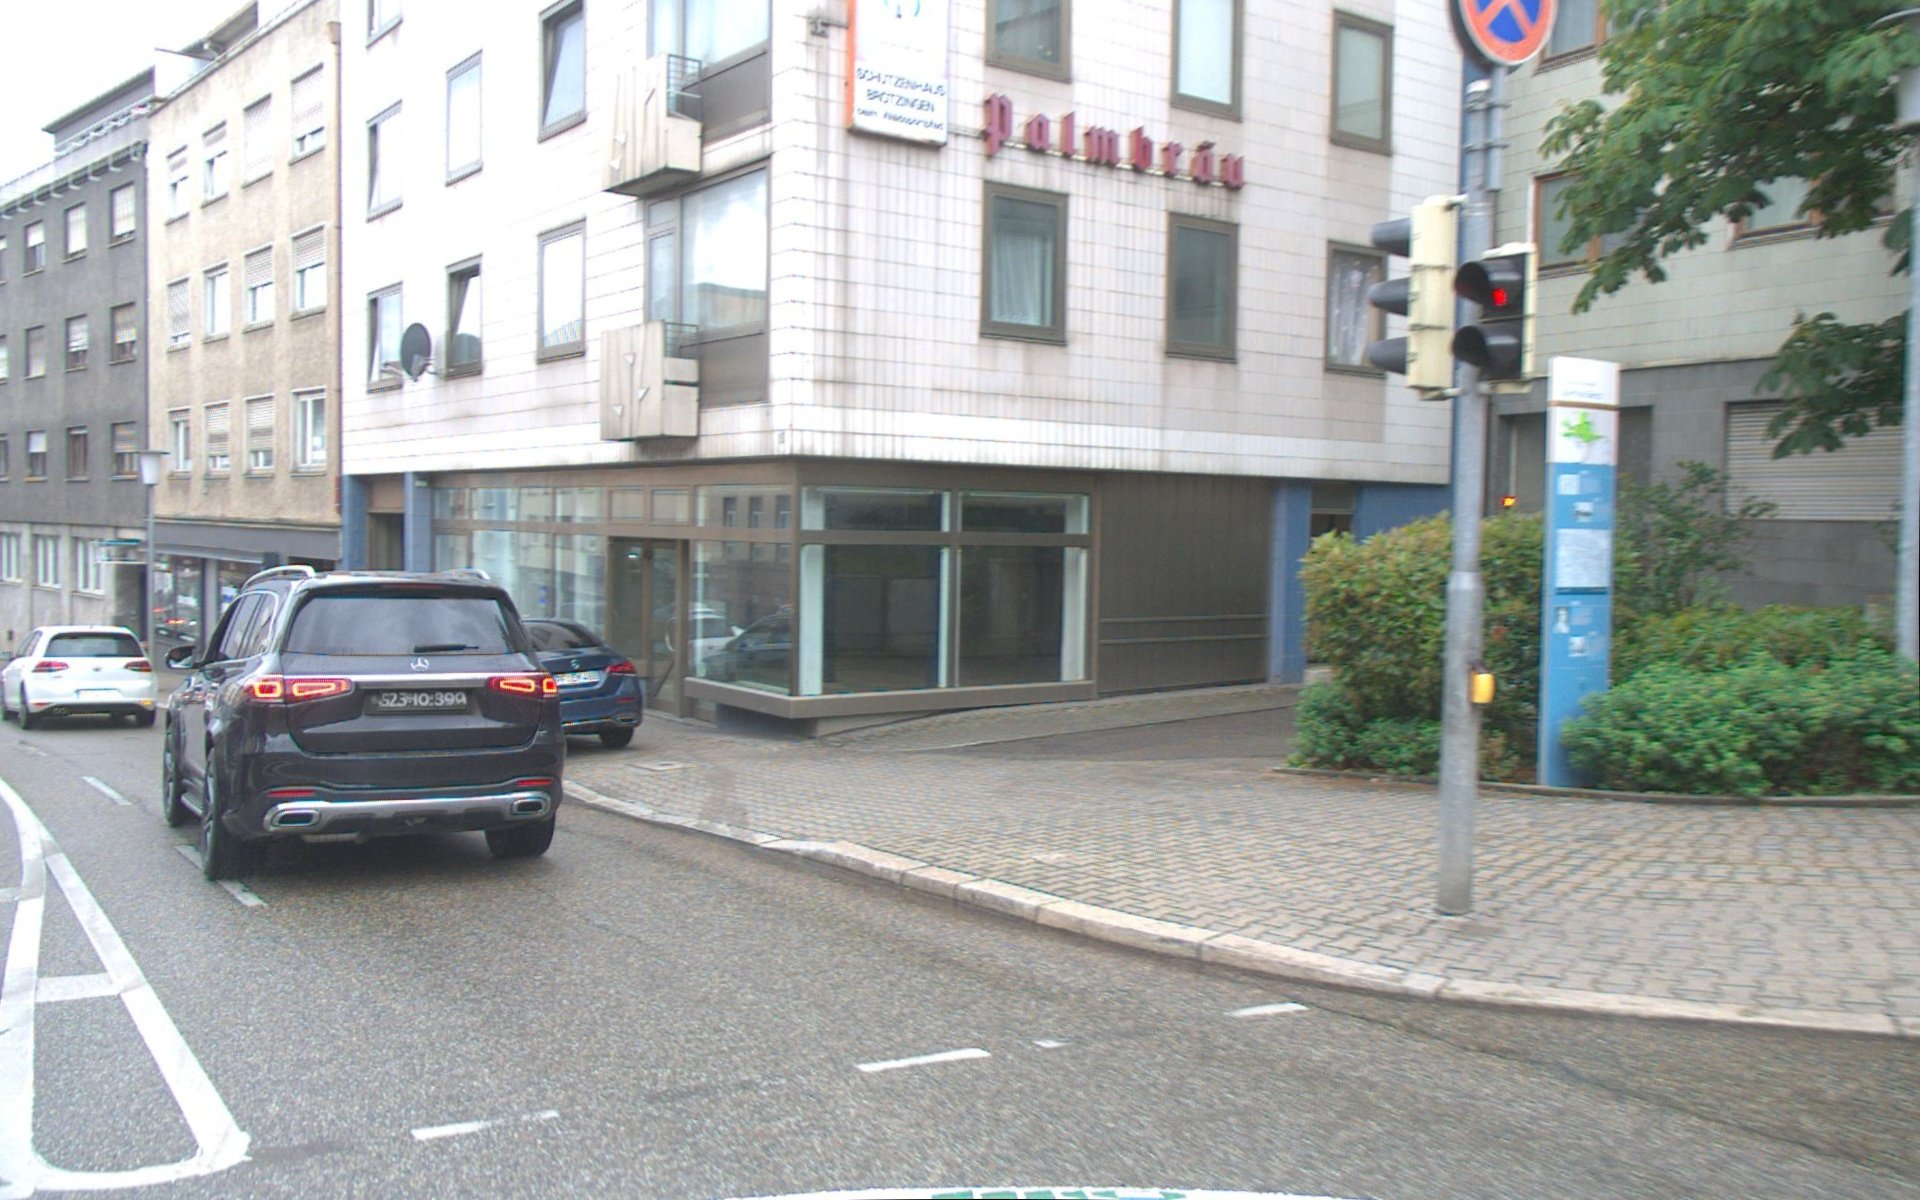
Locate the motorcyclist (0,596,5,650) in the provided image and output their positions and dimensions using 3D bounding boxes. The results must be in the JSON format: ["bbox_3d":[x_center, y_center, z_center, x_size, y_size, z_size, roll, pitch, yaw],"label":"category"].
[{"bbox_3d":[-20.831,0.391,34.597,0.864,1.075,2.893,0,4,-43],"label":"motorcyclist"}]

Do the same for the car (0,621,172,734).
[{"bbox_3d":[-13.429,1.120,25.139,1.816,1.487,4.322,-2,0,-36],"label":"car"}]

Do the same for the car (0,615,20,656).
[{"bbox_3d":[-36.499,1.307,61.427,1.788,1.503,4.413,1,-1,-43],"label":"car"}]

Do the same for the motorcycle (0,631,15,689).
[{"bbox_3d":[-20.520,1.170,34.391,0.864,1.075,2.893,0,4,-43],"label":"motorcycle"}]

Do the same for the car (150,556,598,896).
[{"bbox_3d":[-4.161,0.711,11.164,2.000,1.770,4.697,0,-1,-31],"label":"car"}]

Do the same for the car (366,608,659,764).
[{"bbox_3d":[-5.096,0.880,18.427,1.750,1.416,4.324,-4,1,-35],"label":"car"}]
